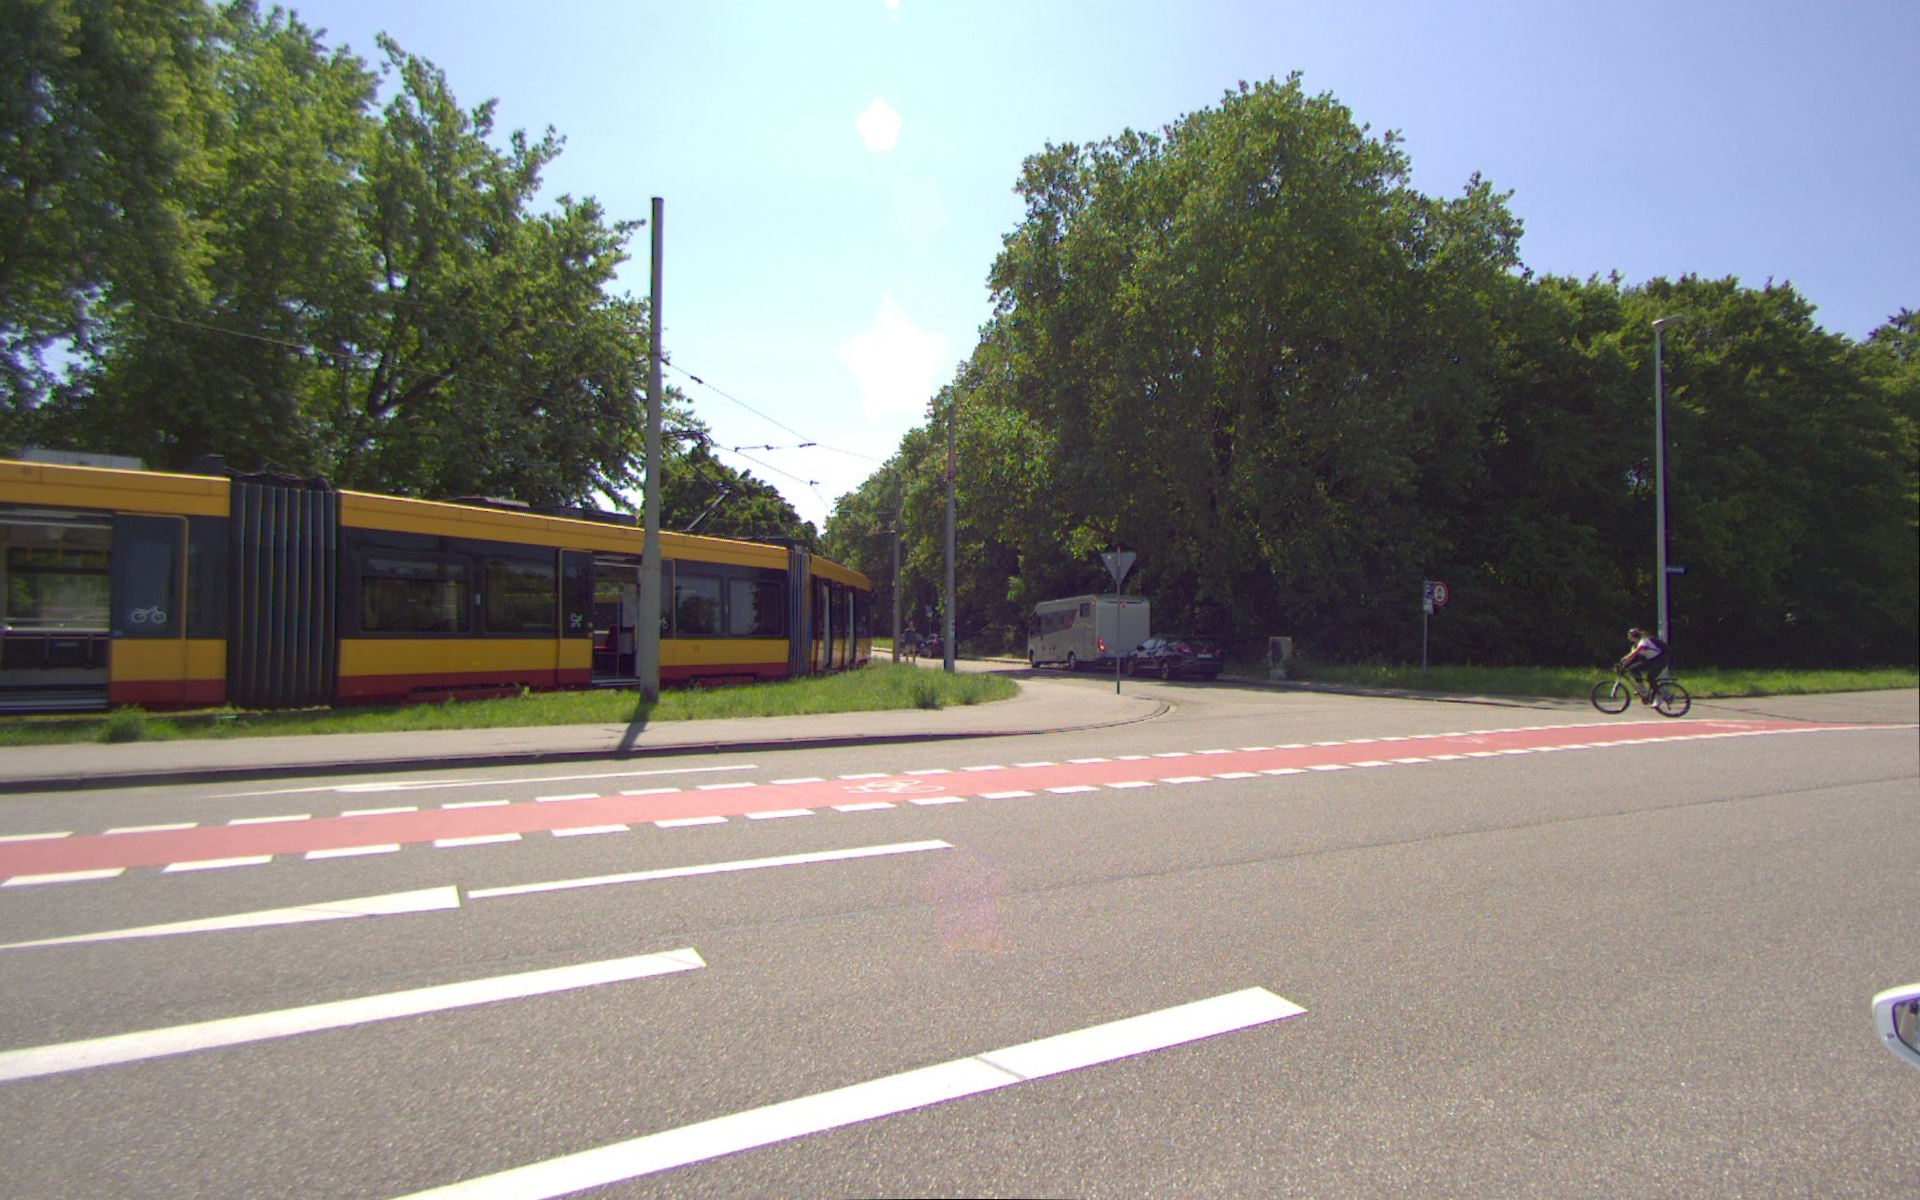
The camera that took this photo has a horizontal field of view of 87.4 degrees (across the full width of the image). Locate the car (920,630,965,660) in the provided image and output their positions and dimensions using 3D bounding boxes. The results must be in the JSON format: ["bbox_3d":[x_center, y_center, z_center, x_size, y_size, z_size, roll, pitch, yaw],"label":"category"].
[{"bbox_3d":[-1.098,2.677,60.156,1.865,1.639,4.206,0,-1,-13],"label":"car"}]

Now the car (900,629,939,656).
[{"bbox_3d":[-2.732,2.815,67.253,1.865,1.639,4.206,0,-1,-13],"label":"car"}]

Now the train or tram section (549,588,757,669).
[{"bbox_3d":[-16.430,1.639,52.747,13.974,3.808,3.014,-2,-3,38],"label":"train or tram section"}]

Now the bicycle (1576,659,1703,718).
[{"bbox_3d":[13.659,1.762,20.252,2.005,1.069,0.671,1,0,20],"label":"bicycle"}]

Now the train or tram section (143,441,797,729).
[{"bbox_3d":[-7.854,0.051,19.069,2.971,3.808,11.601,-2,-3,28],"label":"train or tram section"}]

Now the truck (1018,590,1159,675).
[{"bbox_3d":[4.824,1.299,39.353,2.528,2.948,7.312,2,-2,-19],"label":"truck"}]

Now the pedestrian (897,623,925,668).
[{"bbox_3d":[-1.887,1.743,38.978,0.844,1.732,0.804,1,-1,-26],"label":"pedestrian"}]

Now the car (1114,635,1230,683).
[{"bbox_3d":[6.809,1.880,32.731,1.642,1.435,4.294,3,-3,-20],"label":"car"}]

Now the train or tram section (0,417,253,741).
[{"bbox_3d":[-15.417,-0.281,10.676,12.868,3.808,2.996,2,-3,-36],"label":"train or tram section"}]

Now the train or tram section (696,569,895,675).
[{"bbox_3d":[-7.523,1.108,42.905,2.994,3.808,14.067,1,-3,-33],"label":"train or tram section"}]

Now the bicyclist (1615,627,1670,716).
[{"bbox_3d":[13.736,1.415,20.229,0.754,1.728,0.667,1,0,20],"label":"bicyclist"}]

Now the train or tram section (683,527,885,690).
[{"bbox_3d":[-4.658,0.527,30.636,2.965,3.808,14.057,0,-3,3],"label":"train or tram section"}]
